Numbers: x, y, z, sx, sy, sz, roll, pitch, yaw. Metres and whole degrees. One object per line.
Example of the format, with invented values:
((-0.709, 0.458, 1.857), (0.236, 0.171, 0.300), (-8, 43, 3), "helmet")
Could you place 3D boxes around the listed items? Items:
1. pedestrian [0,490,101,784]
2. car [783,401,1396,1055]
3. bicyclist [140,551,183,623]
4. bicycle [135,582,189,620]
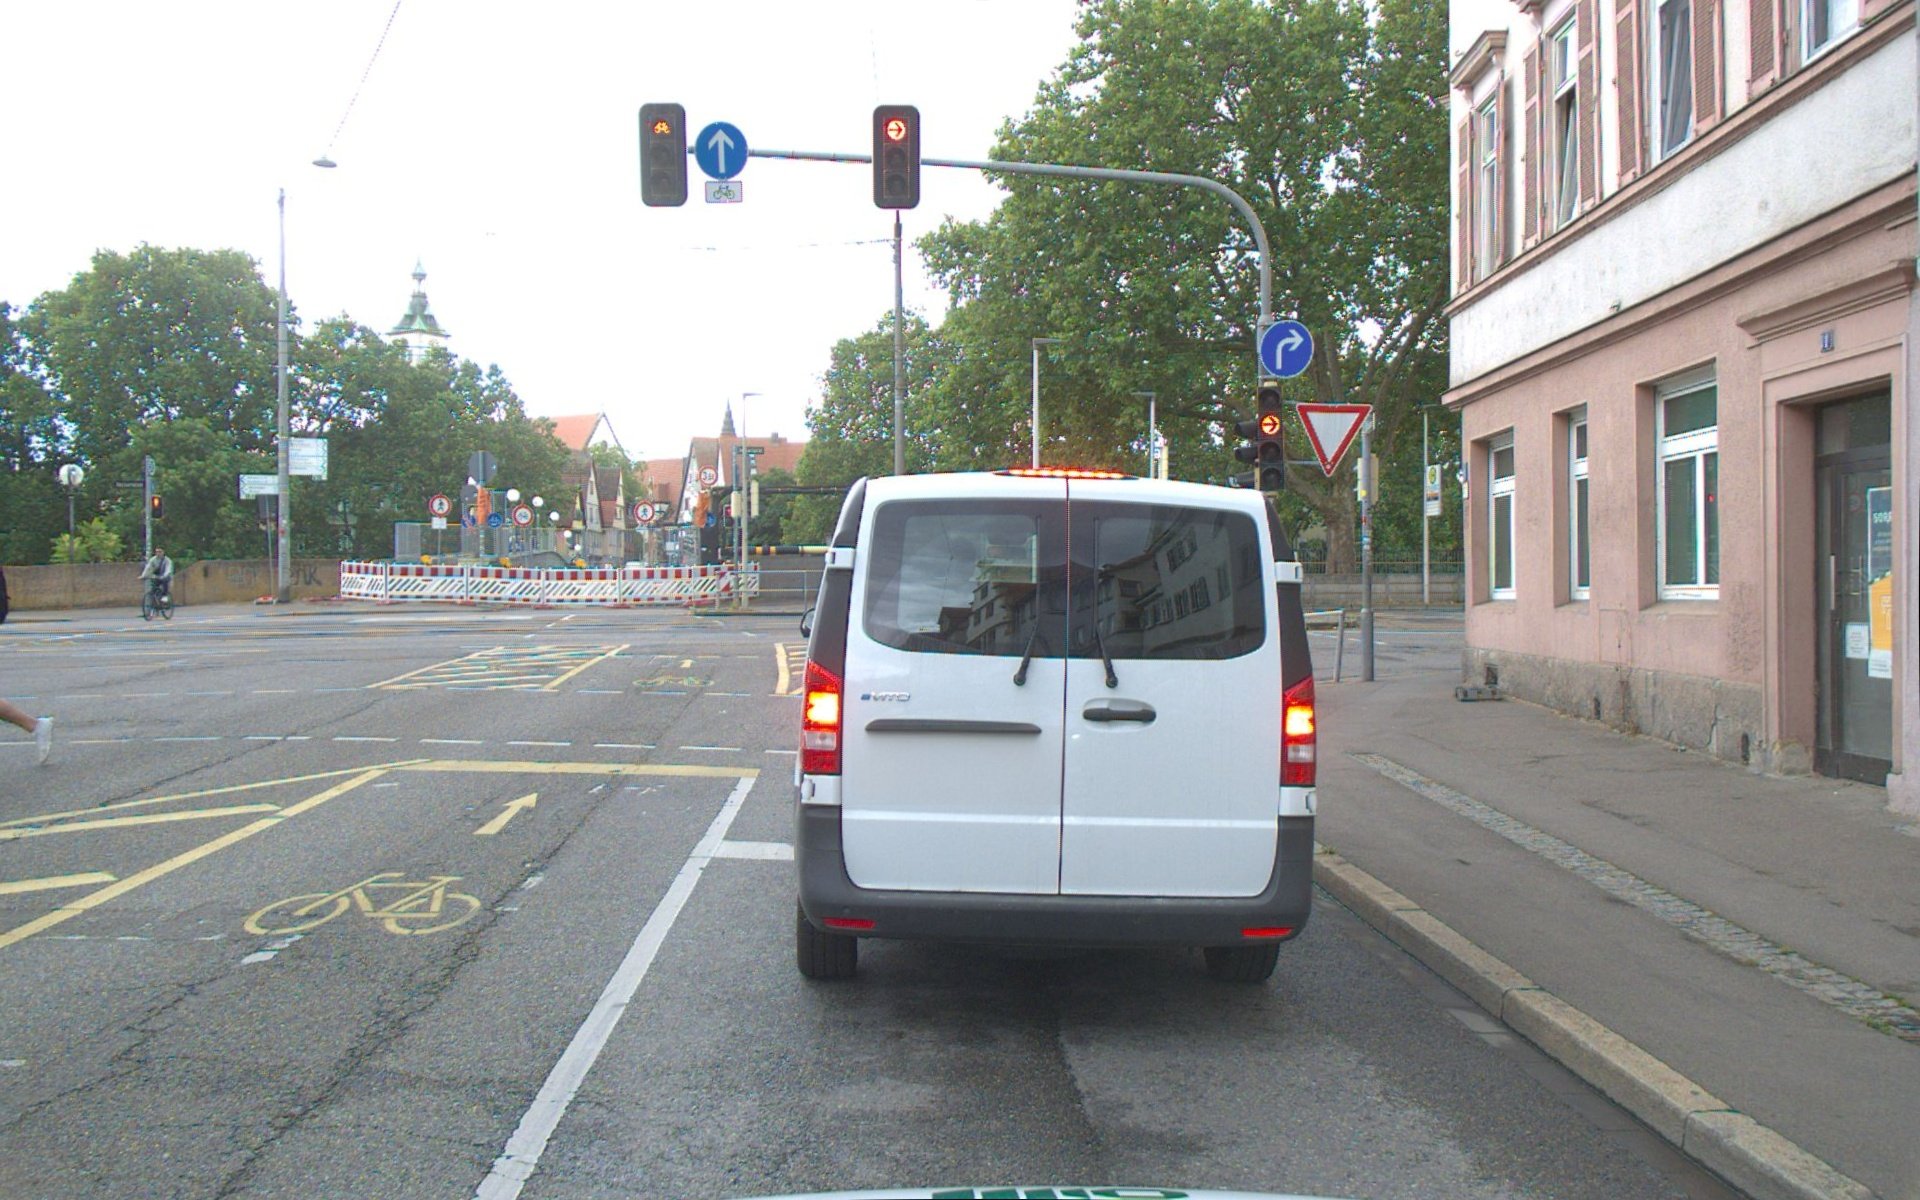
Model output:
((-6.694, 0.218, 11.326), (1.066, 1.919, 1.058), (1, 1, -1), "pedestrian")
((0.376, 0.347, 7.591), (1.911, 2.048, 4.698), (1, 2, -1), "car")
((-19.686, -0.322, 40.790), (0.709, 1.730, 0.810), (0, 0, -5), "bicyclist")
((-19.683, 0.014, 40.811), (0.530, 0.908, 1.879), (0, 1, -4), "bicycle")
